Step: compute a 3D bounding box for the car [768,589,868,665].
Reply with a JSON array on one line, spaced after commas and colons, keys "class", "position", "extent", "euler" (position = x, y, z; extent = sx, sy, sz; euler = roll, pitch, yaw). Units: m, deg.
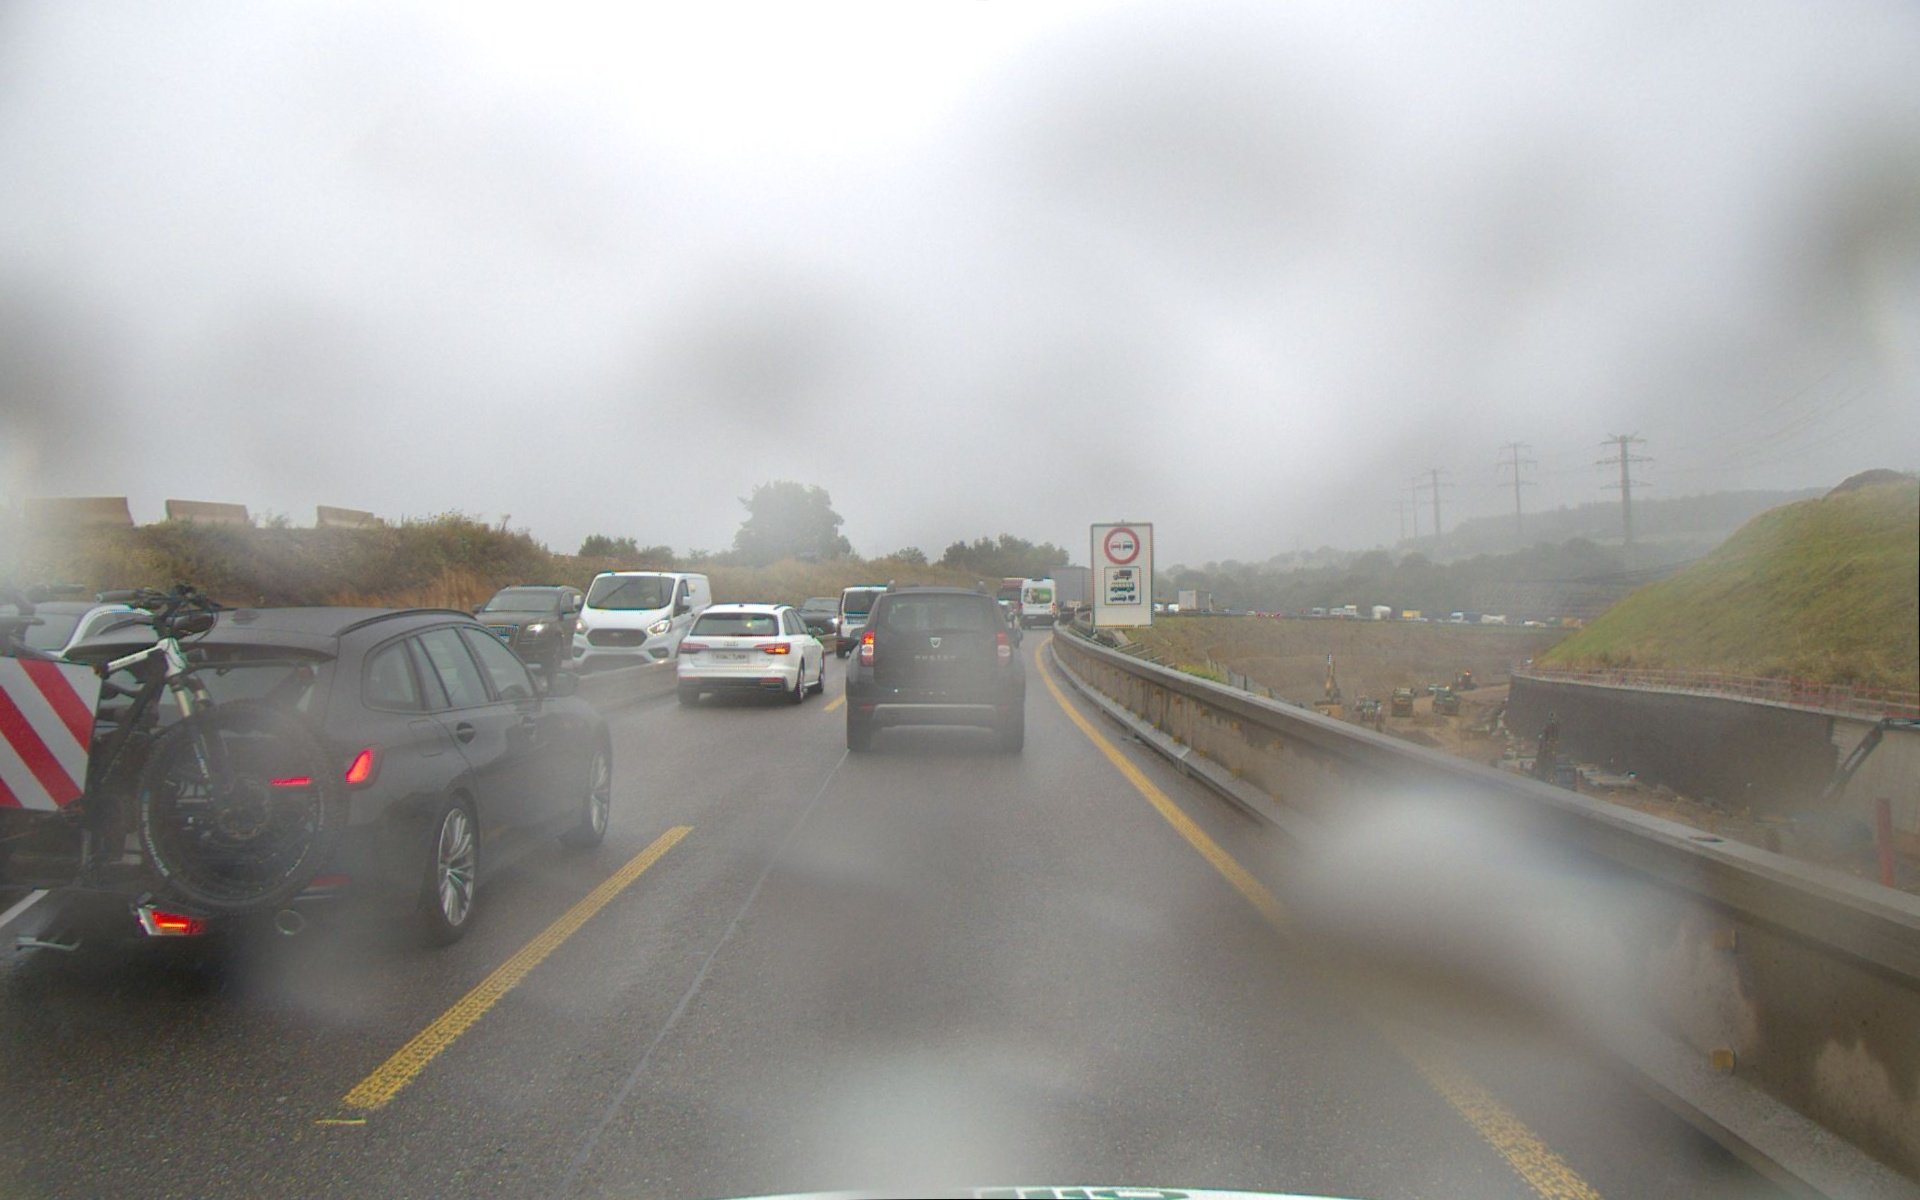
[{"class": "car", "position": [-3.010, 0.580, 35.787], "extent": [1.789, 1.525, 4.000], "euler": [0, -1, 0]}]

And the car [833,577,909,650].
[{"class": "car", "position": [-2.358, 0.372, 44.637], "extent": [1.789, 1.847, 4.000], "euler": [0, -1, 1]}]

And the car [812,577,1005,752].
[{"class": "car", "position": [-0.458, 0.625, 17.436], "extent": [1.789, 1.619, 4.000], "euler": [0, -1, 0]}]

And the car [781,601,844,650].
[{"class": "car", "position": [-5.337, 0.891, 60.267], "extent": [1.784, 1.668, 4.485], "euler": [0, 0, 1]}]

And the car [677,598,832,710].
[{"class": "car", "position": [-2.979, 0.767, 24.758], "extent": [1.789, 1.525, 4.000], "euler": [0, -1, 0]}]

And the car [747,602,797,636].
[{"class": "car", "position": [-7.938, 0.795, 70.041], "extent": [1.547, 1.407, 4.001], "euler": [0, 0, 2]}]

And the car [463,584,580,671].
[{"class": "car", "position": [-8.677, 0.510, 32.972], "extent": [1.500, 1.629, 3.166], "euler": [1, 1, -1]}]

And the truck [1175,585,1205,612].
[{"class": "truck", "position": [32.672, -0.269, 234.886], "extent": [3.398, 3.780, 8.424], "euler": [-1, 0, 14]}]

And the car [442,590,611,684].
[{"class": "car", "position": [-8.689, 0.684, 33.648], "extent": [1.952, 1.716, 4.971], "euler": [0, 1, 2]}]

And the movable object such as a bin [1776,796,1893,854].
[{"class": "movable object such as a bin", "position": [35.923, 9.212, 68.022], "extent": [1.979, 2.049, 3.789], "euler": [4, -4, -37]}]

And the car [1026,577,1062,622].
[{"class": "car", "position": [4.753, -0.014, 93.550], "extent": [1.787, 2.480, 4.160], "euler": [0, -1, 6]}]

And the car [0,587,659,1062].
[{"class": "car", "position": [-2.905, 0.732, 8.359], "extent": [1.699, 1.488, 5.630], "euler": [0, 2, 0]}]

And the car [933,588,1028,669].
[{"class": "car", "position": [0.406, 0.574, 33.585], "extent": [1.789, 1.525, 4.000], "euler": [0, -1, 0]}]

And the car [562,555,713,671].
[{"class": "car", "position": [-6.052, 0.207, 31.639], "extent": [1.953, 2.034, 4.969], "euler": [0, 1, -1]}]

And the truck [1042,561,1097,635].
[{"class": "truck", "position": [8.117, -0.101, 121.362], "extent": [3.468, 5.166, 10.448], "euler": [0, -1, 6]}]

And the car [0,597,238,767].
[{"class": "car", "position": [-9.506, 0.741, 17.224], "extent": [1.952, 1.527, 4.535], "euler": [0, 0, 0]}]

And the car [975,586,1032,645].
[{"class": "car", "position": [1.440, 0.518, 53.775], "extent": [1.788, 1.847, 4.001], "euler": [0, -1, 2]}]
